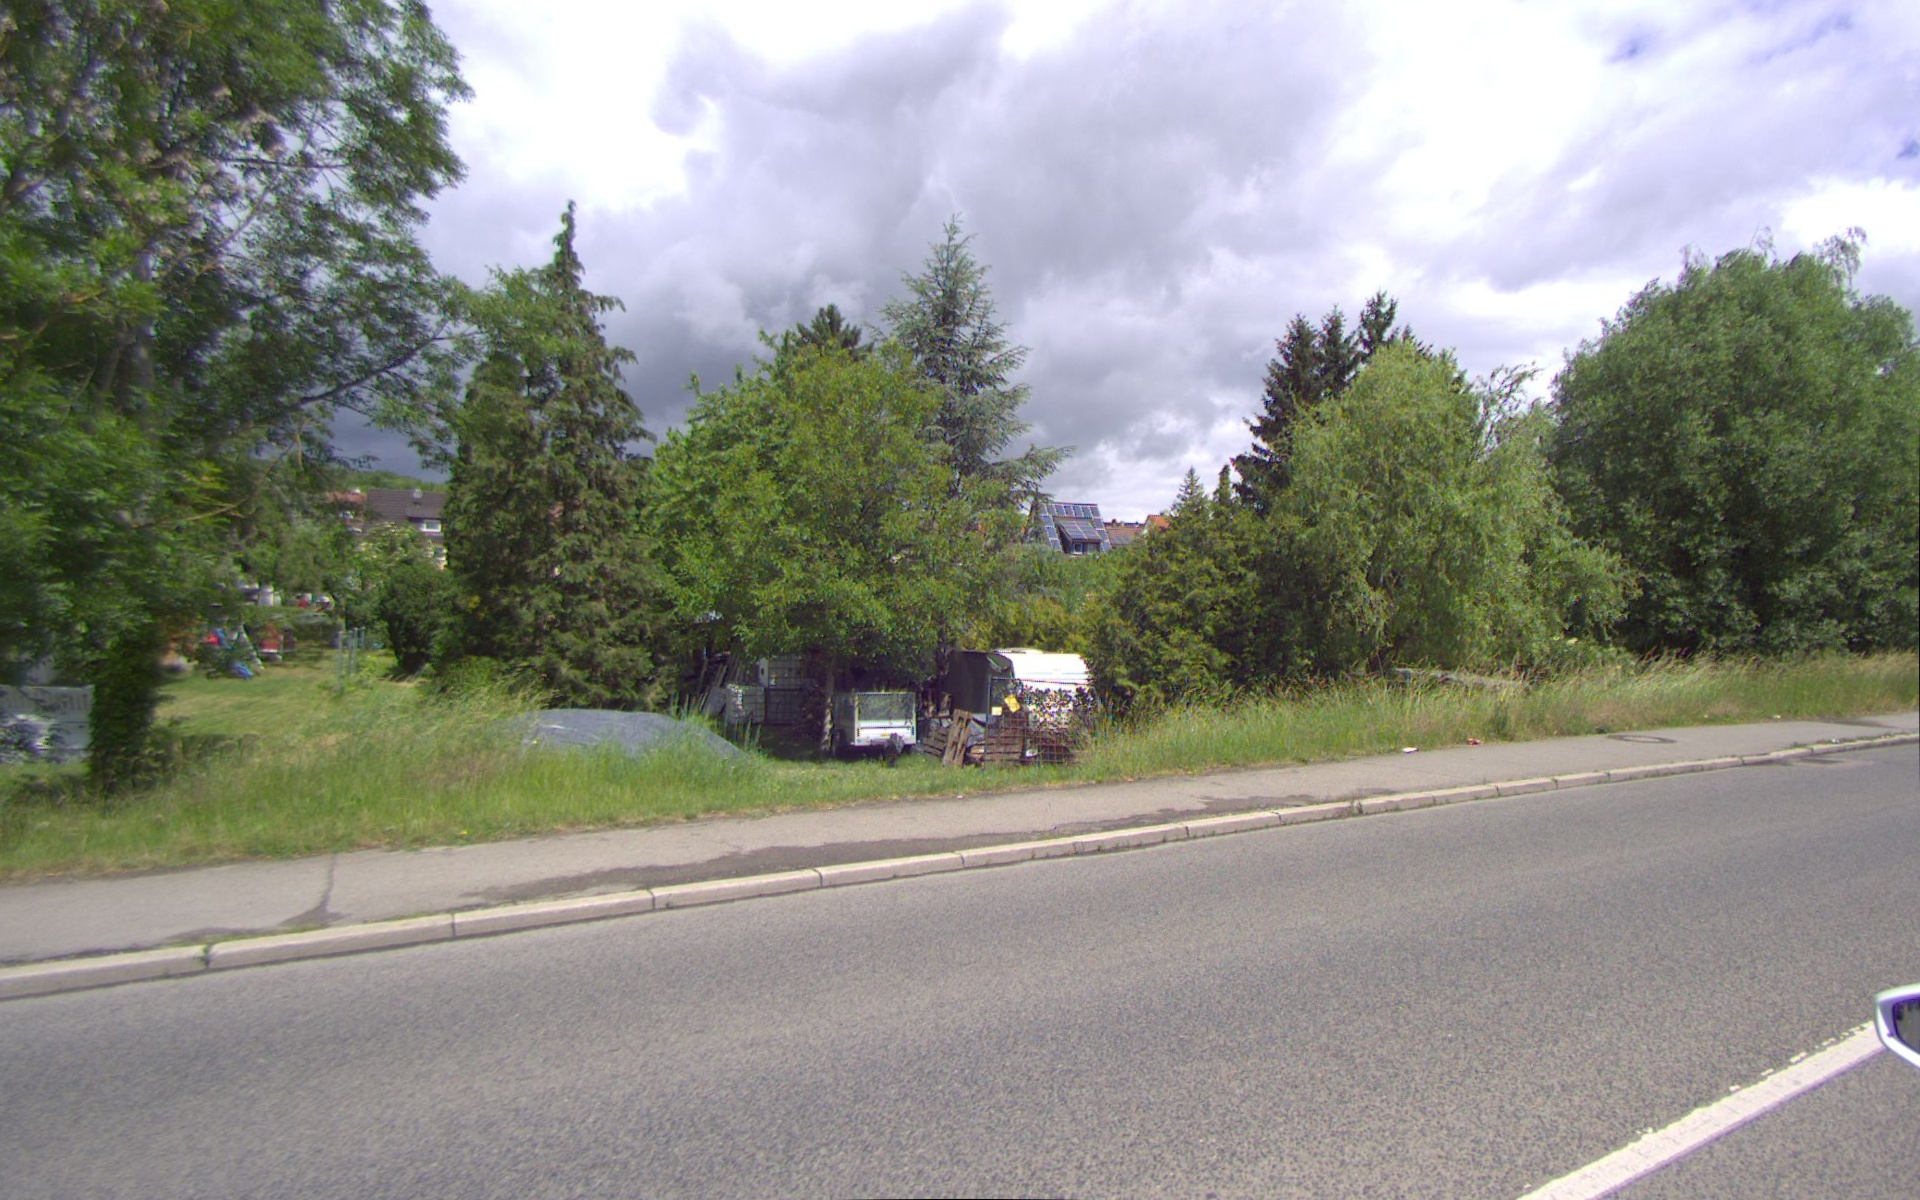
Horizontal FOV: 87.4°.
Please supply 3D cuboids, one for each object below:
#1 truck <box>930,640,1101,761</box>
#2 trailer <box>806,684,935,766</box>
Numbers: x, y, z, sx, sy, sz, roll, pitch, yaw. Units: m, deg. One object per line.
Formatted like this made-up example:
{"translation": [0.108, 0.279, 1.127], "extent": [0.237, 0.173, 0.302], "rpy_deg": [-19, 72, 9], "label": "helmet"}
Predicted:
{"translation": [1.171, 2.373, 25.192], "extent": [1.970, 2.643, 6.196], "rpy_deg": [1, -3, -21], "label": "truck"}
{"translation": [-2.141, 2.776, 23.053], "extent": [1.970, 1.576, 3.982], "rpy_deg": [1, -3, -21], "label": "trailer"}
